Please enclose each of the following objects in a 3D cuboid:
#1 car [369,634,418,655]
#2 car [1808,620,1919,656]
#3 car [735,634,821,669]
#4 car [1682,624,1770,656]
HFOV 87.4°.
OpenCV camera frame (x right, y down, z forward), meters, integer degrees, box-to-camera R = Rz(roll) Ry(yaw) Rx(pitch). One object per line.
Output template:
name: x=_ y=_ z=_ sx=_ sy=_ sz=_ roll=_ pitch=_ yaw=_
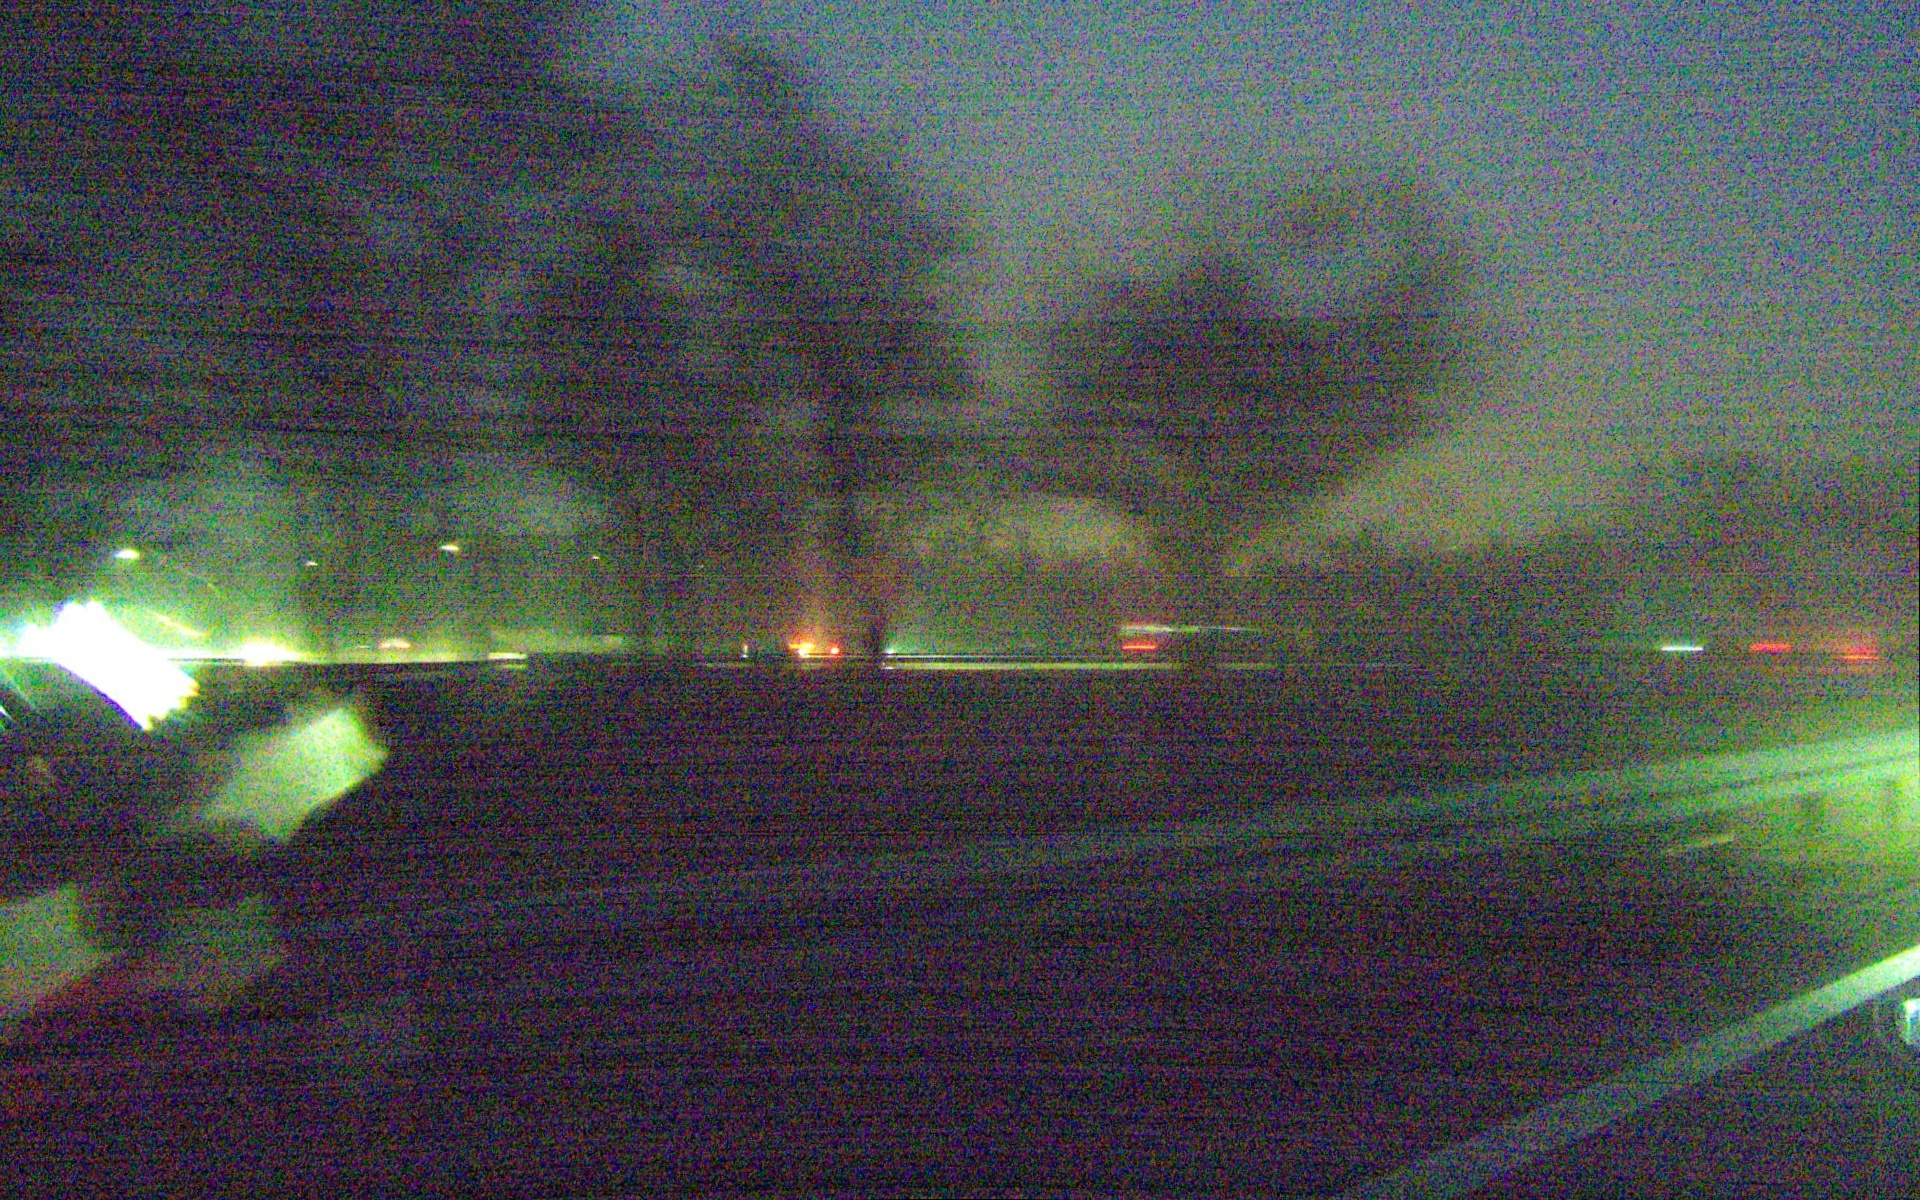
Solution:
car: x=-57.957 y=4.523 z=102.817 sx=4.382 sy=2.040 sz=2.000 roll=-1 pitch=0 yaw=19
car: x=43.319 y=1.787 z=47.915 sx=3.922 sy=1.639 sz=2.000 roll=0 pitch=0 yaw=21
car: x=-11.381 y=3.197 z=62.700 sx=4.917 sy=2.040 sz=2.000 roll=-1 pitch=0 yaw=18
car: x=47.381 y=2.470 z=62.224 sx=3.920 sy=1.929 sz=1.921 roll=-1 pitch=0 yaw=18
